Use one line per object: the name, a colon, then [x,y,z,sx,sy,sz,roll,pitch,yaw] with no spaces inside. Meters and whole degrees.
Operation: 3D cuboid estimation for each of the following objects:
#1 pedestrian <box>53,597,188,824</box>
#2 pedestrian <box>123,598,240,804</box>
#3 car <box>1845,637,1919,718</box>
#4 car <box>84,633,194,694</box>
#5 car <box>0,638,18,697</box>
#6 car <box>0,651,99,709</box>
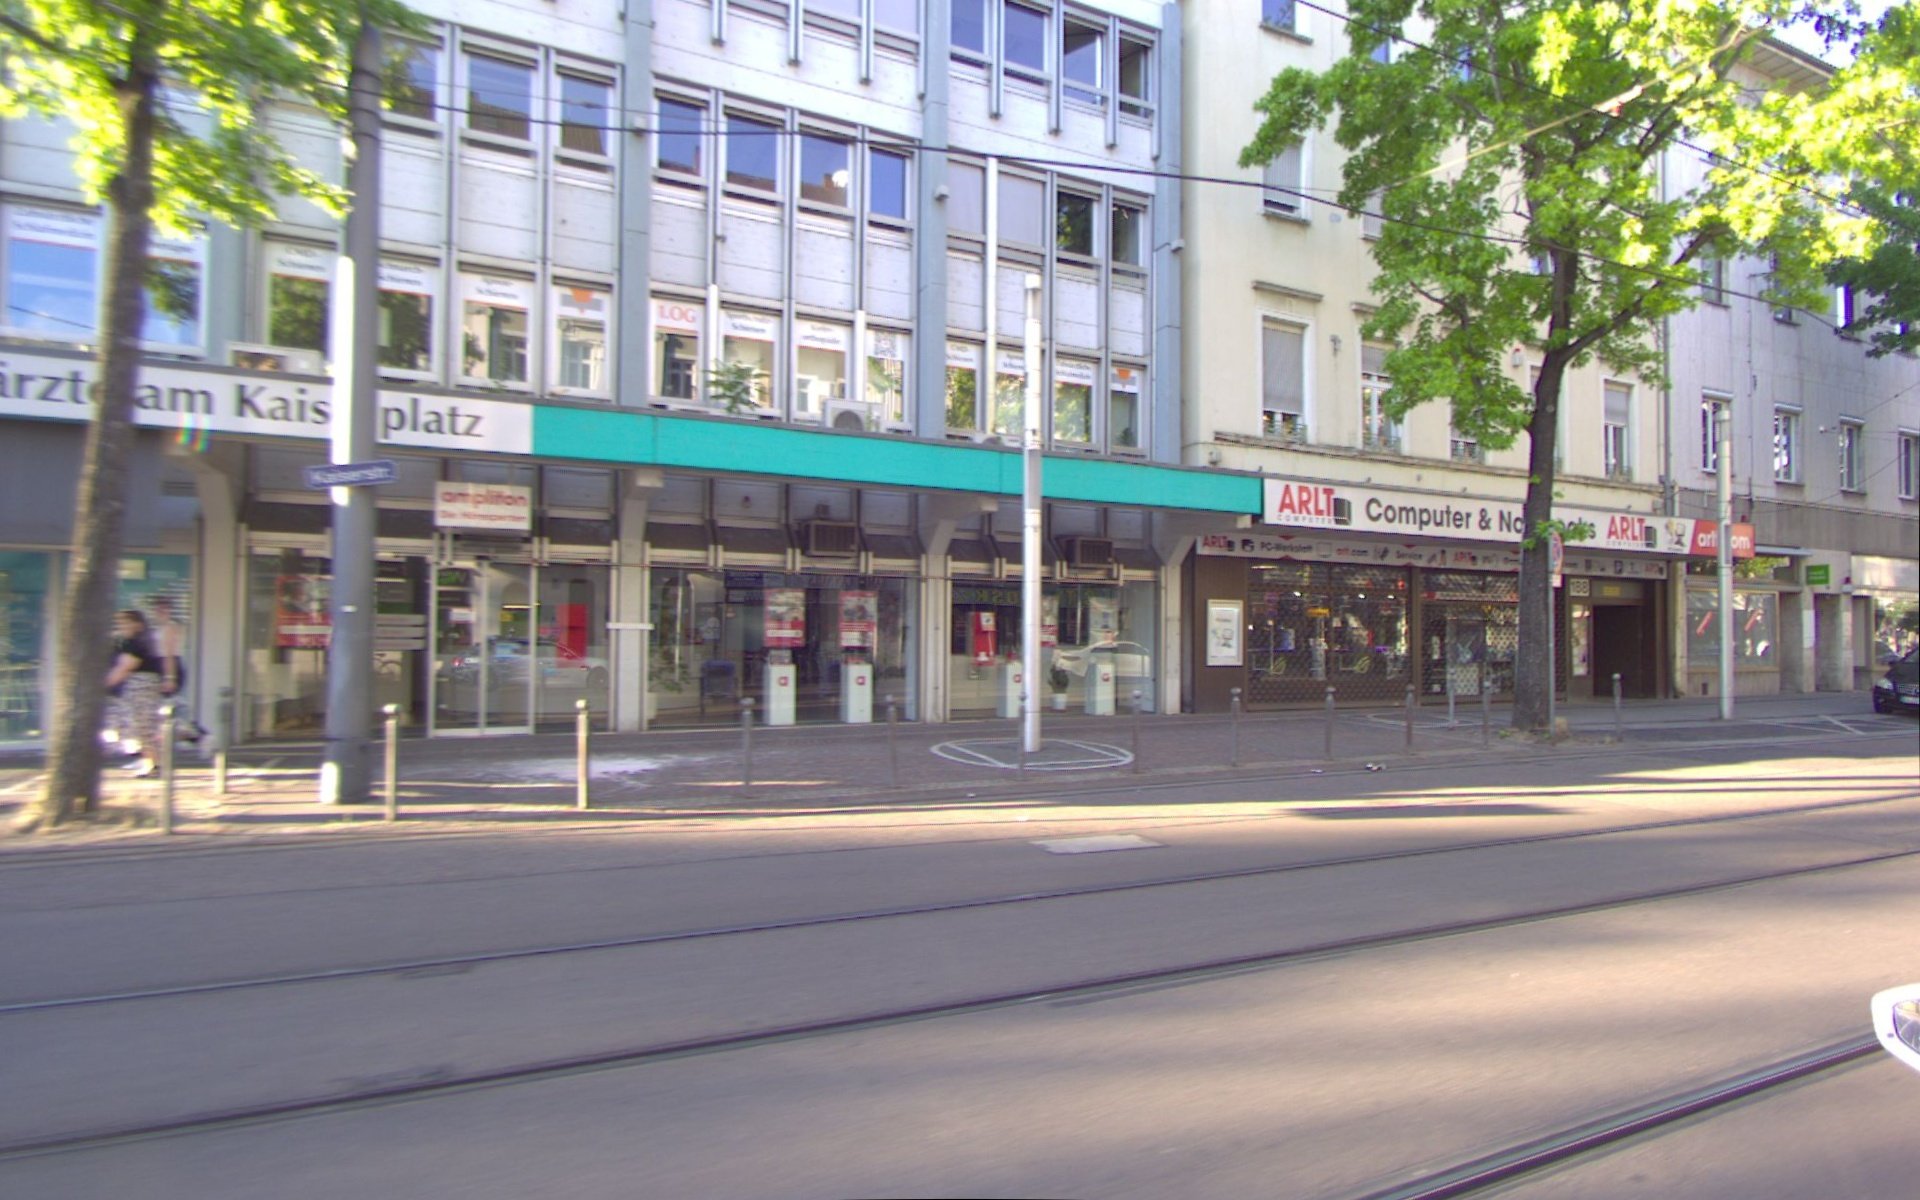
pedestrian: [-7.985,1.021,9.603,0.724,2.040,0.795,2,-2,-24]
pedestrian: [-8.105,1.023,10.503,0.724,2.040,0.795,2,-2,-24]
car: [21.463,1.657,21.790,3.945,1.661,1.957,1,-2,-24]
car: [-28.977,2.224,35.603,1.972,2.040,3.977,2,-3,-24]
car: [-33.872,2.268,33.591,1.970,2.040,3.983,1,-3,-20]
car: [-26.999,2.265,29.015,1.971,1.550,3.980,2,-3,-22]
